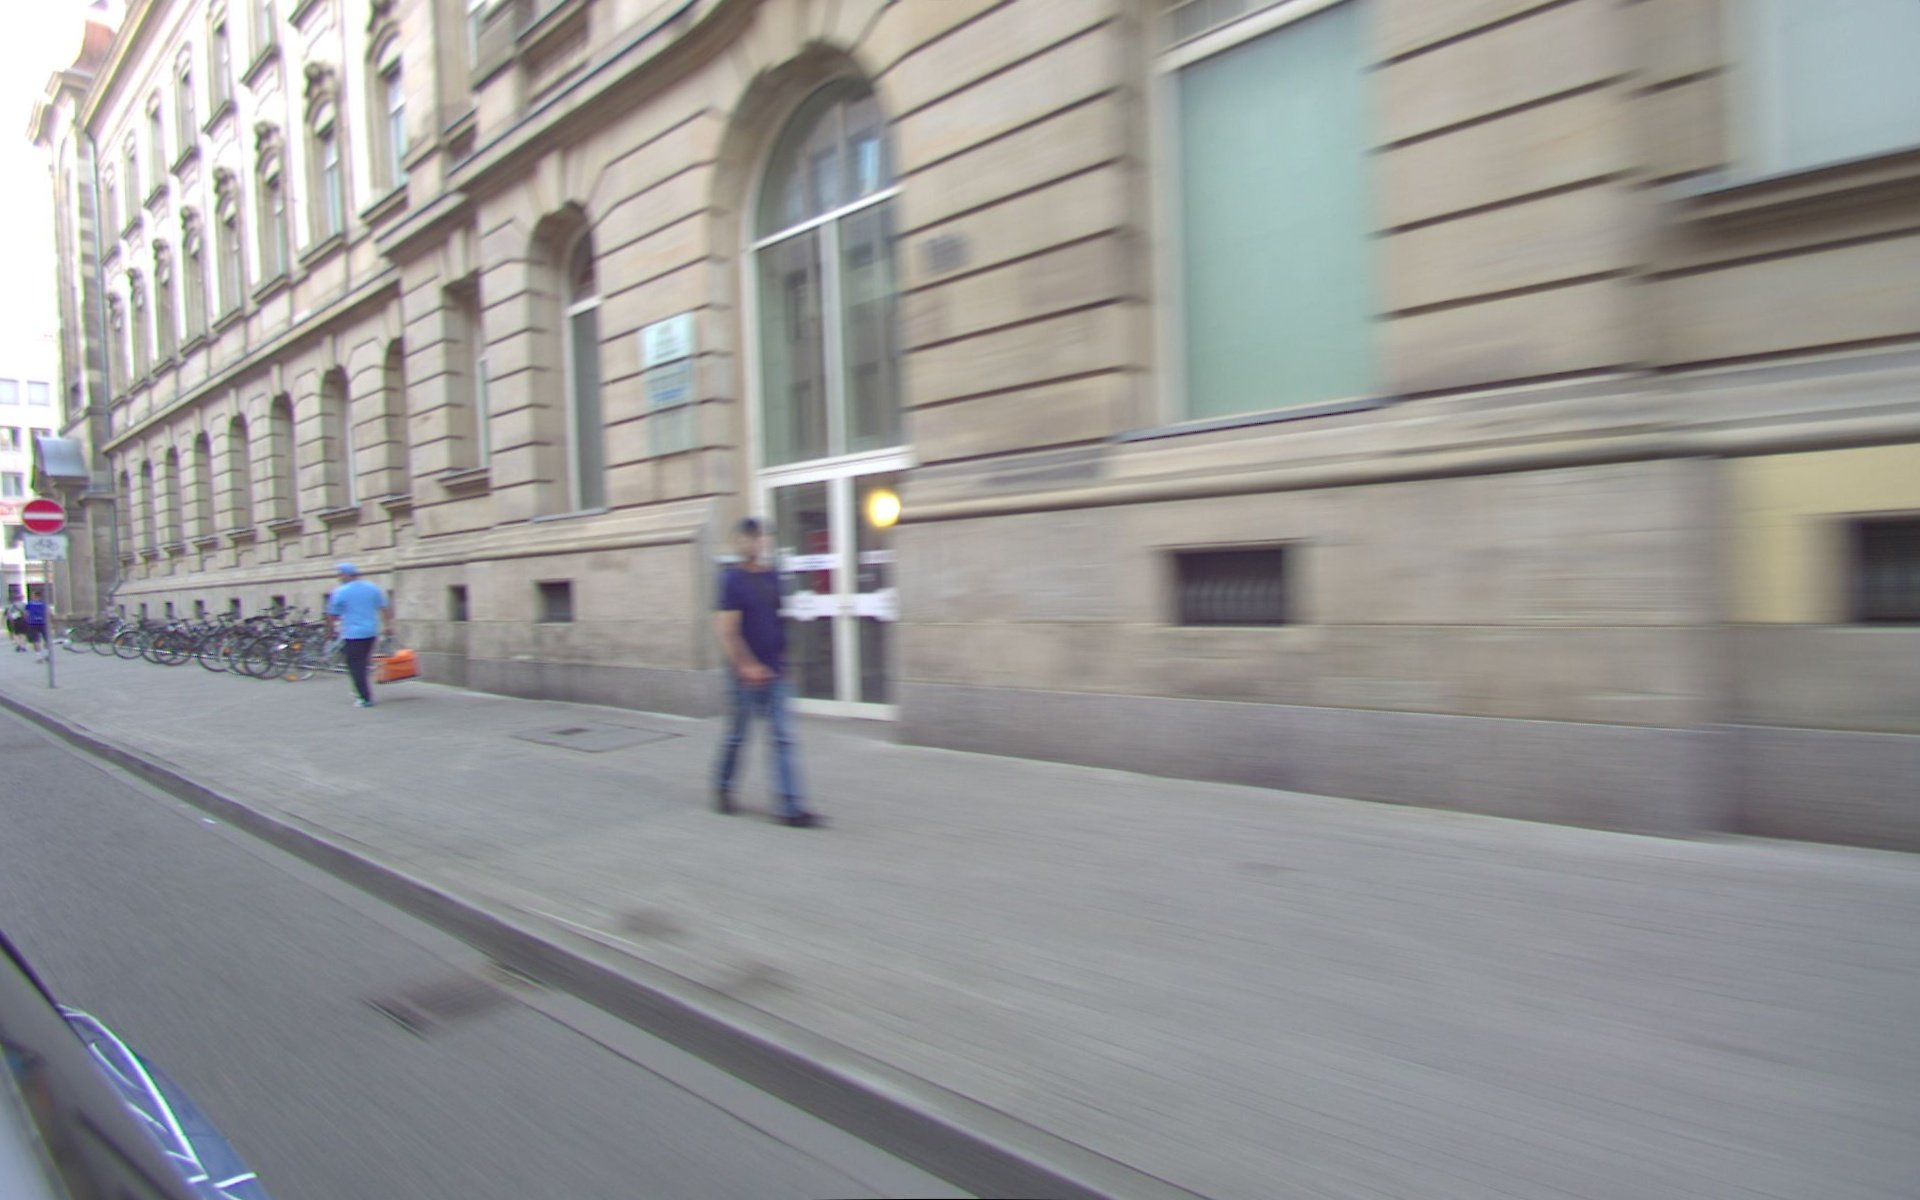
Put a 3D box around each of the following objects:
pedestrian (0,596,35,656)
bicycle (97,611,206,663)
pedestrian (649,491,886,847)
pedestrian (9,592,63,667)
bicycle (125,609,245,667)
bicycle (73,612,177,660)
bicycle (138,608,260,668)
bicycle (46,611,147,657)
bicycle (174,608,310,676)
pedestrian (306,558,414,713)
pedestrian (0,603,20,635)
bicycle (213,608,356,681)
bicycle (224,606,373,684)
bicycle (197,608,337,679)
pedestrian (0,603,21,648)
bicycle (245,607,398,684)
[{"bbox_3d":[-29.266,0.792,31.354,0.800,1.793,0.710,-1,3,42],"label":"pedestrian"},{"bbox_3d":[-19.778,0.878,24.795,0.729,1.086,1.920,-1,3,36],"label":"bicycle"},{"bbox_3d":[-1.070,0.324,5.622,0.969,1.763,0.801,0,3,41],"label":"pedestrian"},{"bbox_3d":[-22.868,0.714,25.059,0.765,1.802,0.823,-3,2,-32],"label":"pedestrian"},{"bbox_3d":[-17.167,0.827,22.460,0.728,1.086,1.921,-1,3,34],"label":"bicycle"},{"bbox_3d":[-22.325,0.954,27.104,0.725,1.086,2.011,-2,3,22],"label":"bicycle"},{"bbox_3d":[-16.269,0.790,21.683,0.728,1.086,1.921,-1,3,34],"label":"bicycle"},{"bbox_3d":[-24.599,0.959,28.866,0.728,1.117,2.002,-1,3,35],"label":"bicycle"},{"bbox_3d":[-13.606,0.773,19.224,0.728,1.086,1.921,-1,3,34],"label":"bicycle"},{"bbox_3d":[-7.258,0.405,12.247,0.768,1.758,0.820,-1,3,42],"label":"pedestrian"},{"bbox_3d":[-50.828,1.024,54.106,0.746,1.701,0.722,-1,0,43],"label":"pedestrian"},{"bbox_3d":[-11.945,0.753,17.955,0.728,1.086,1.921,-1,3,34],"label":"bicycle"},{"bbox_3d":[-11.083,0.719,17.018,0.747,1.086,1.918,0,4,40],"label":"bicycle"},{"bbox_3d":[-12.567,0.760,18.415,0.728,1.086,1.921,-1,3,34],"label":"bicycle"},{"bbox_3d":[-36.617,0.972,38.781,0.747,1.653,0.749,-7,4,-41],"label":"pedestrian"},{"bbox_3d":[-10.346,0.714,16.464,0.720,1.053,1.918,-1,3,37],"label":"bicycle"}]
